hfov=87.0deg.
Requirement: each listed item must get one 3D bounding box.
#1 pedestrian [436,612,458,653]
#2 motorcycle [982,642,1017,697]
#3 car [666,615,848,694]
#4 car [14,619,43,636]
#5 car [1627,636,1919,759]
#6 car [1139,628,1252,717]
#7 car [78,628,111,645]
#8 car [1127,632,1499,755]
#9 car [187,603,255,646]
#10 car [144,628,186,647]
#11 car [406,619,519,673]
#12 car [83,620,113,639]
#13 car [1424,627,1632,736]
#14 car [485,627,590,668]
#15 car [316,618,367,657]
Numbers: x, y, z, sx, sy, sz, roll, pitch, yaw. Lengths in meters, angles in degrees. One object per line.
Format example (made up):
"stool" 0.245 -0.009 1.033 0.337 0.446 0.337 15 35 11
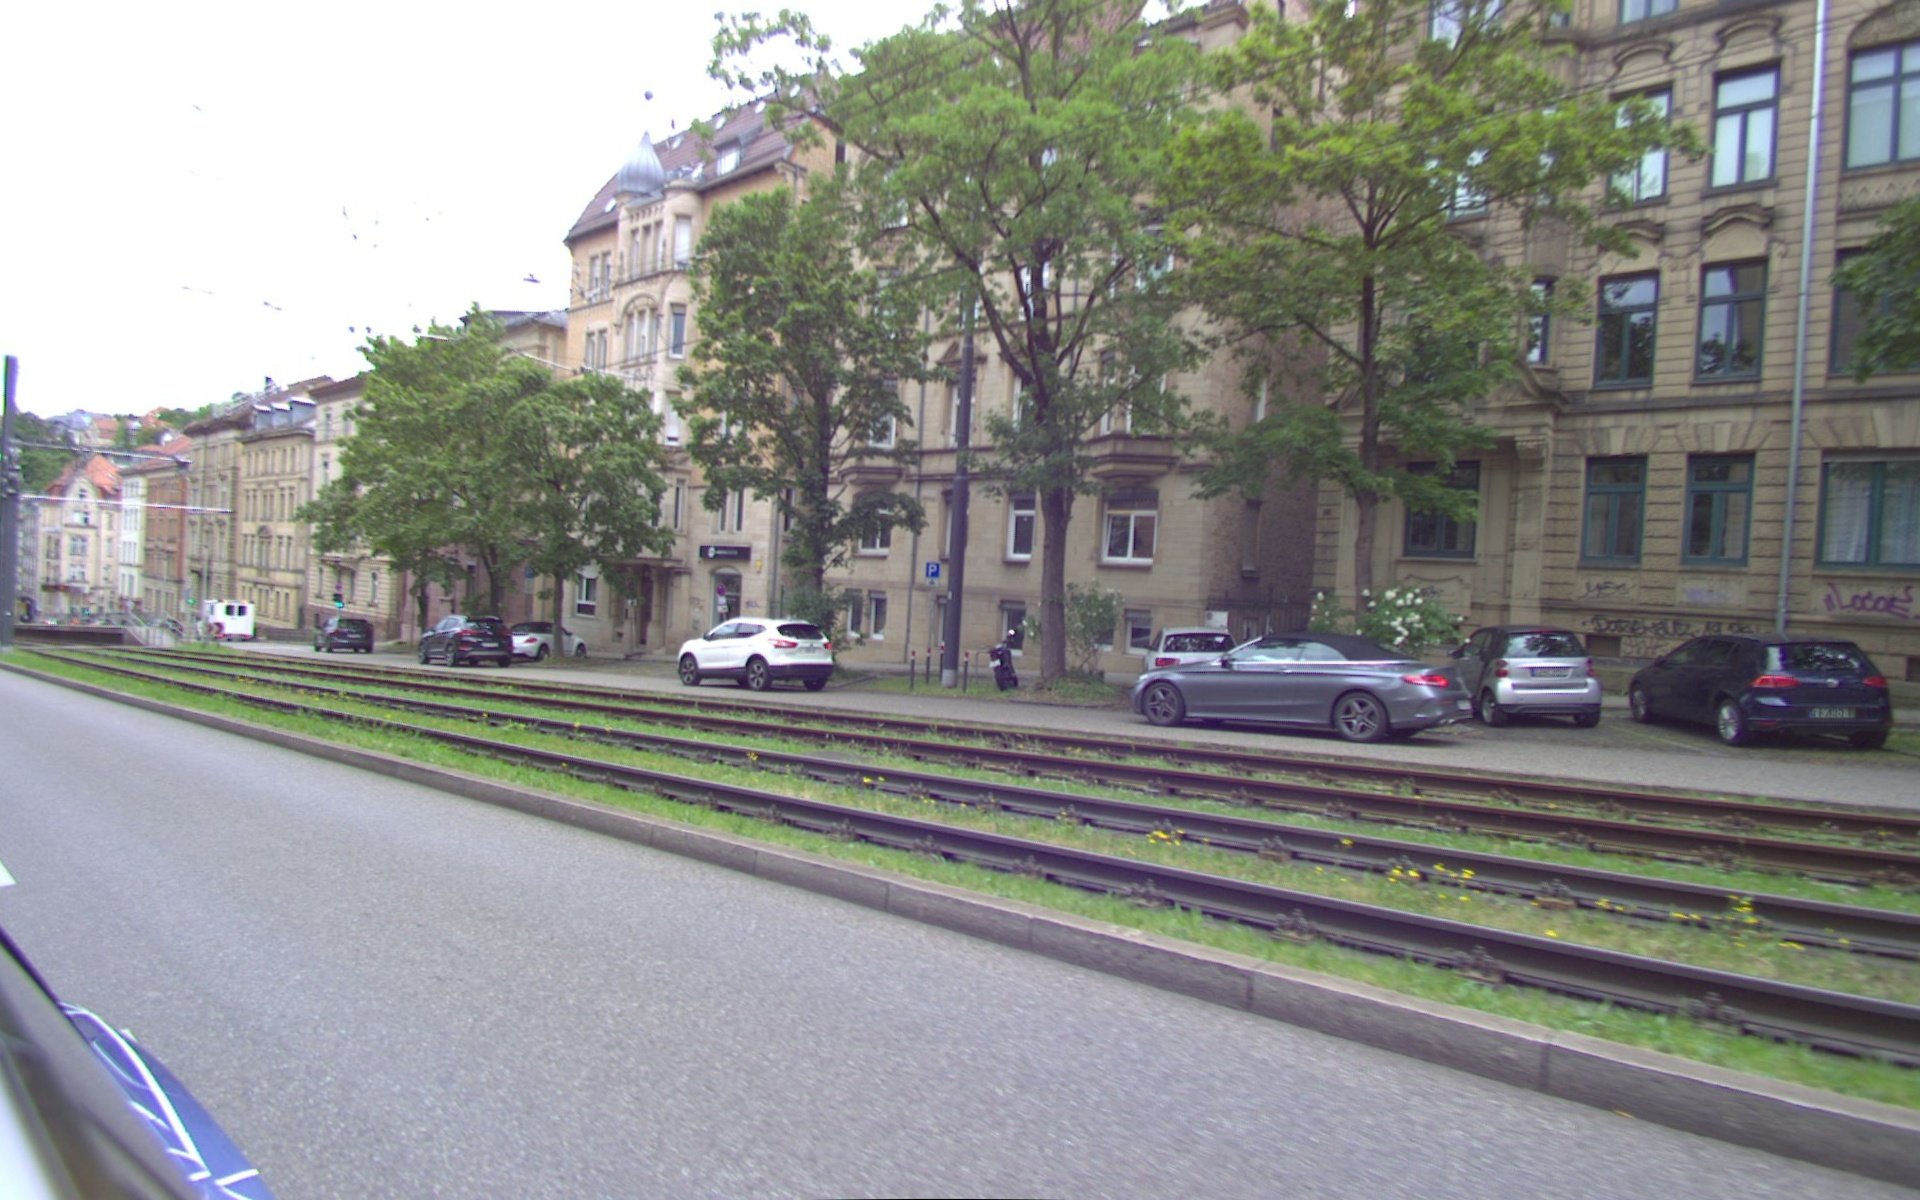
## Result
"pedestrian" -25.316 1.616 49.935 0.796 2.029 0.713 -2 -3 39
"motorcycle" 0.893 1.521 22.552 0.617 1.066 2.201 0 0 6
"car" -4.694 1.209 23.048 4.344 1.629 1.761 -1 -4 41
"car" -97.120 2.836 105.516 4.574 1.749 1.691 -1 -3 42
"car" 11.288 1.242 14.261 1.854 1.446 4.171 0 -2 14
"car" 4.398 1.298 19.420 1.766 1.481 4.143 1 -2 9
"car" -70.617 2.995 82.581 3.653 1.388 1.560 -1 -3 42
"car" 4.754 1.189 14.067 4.595 1.421 1.706 -1 -4 41
"car" -49.572 1.637 67.796 6.518 2.720 2.366 -1 -4 43
"car" -61.565 2.887 78.327 4.746 1.439 1.730 -1 -4 42
"car" -16.307 1.488 33.114 4.241 1.669 1.761 -1 -4 41
"car" -87.971 3.043 103.287 4.138 1.874 1.828 -2 -3 43
"car" 9.366 1.275 17.106 1.852 1.585 4.176 0 -2 11
"car" -15.662 1.726 37.763 1.766 1.433 3.988 0 -2 9
"car" -28.324 1.744 46.345 1.854 1.663 4.483 3 -4 -32
